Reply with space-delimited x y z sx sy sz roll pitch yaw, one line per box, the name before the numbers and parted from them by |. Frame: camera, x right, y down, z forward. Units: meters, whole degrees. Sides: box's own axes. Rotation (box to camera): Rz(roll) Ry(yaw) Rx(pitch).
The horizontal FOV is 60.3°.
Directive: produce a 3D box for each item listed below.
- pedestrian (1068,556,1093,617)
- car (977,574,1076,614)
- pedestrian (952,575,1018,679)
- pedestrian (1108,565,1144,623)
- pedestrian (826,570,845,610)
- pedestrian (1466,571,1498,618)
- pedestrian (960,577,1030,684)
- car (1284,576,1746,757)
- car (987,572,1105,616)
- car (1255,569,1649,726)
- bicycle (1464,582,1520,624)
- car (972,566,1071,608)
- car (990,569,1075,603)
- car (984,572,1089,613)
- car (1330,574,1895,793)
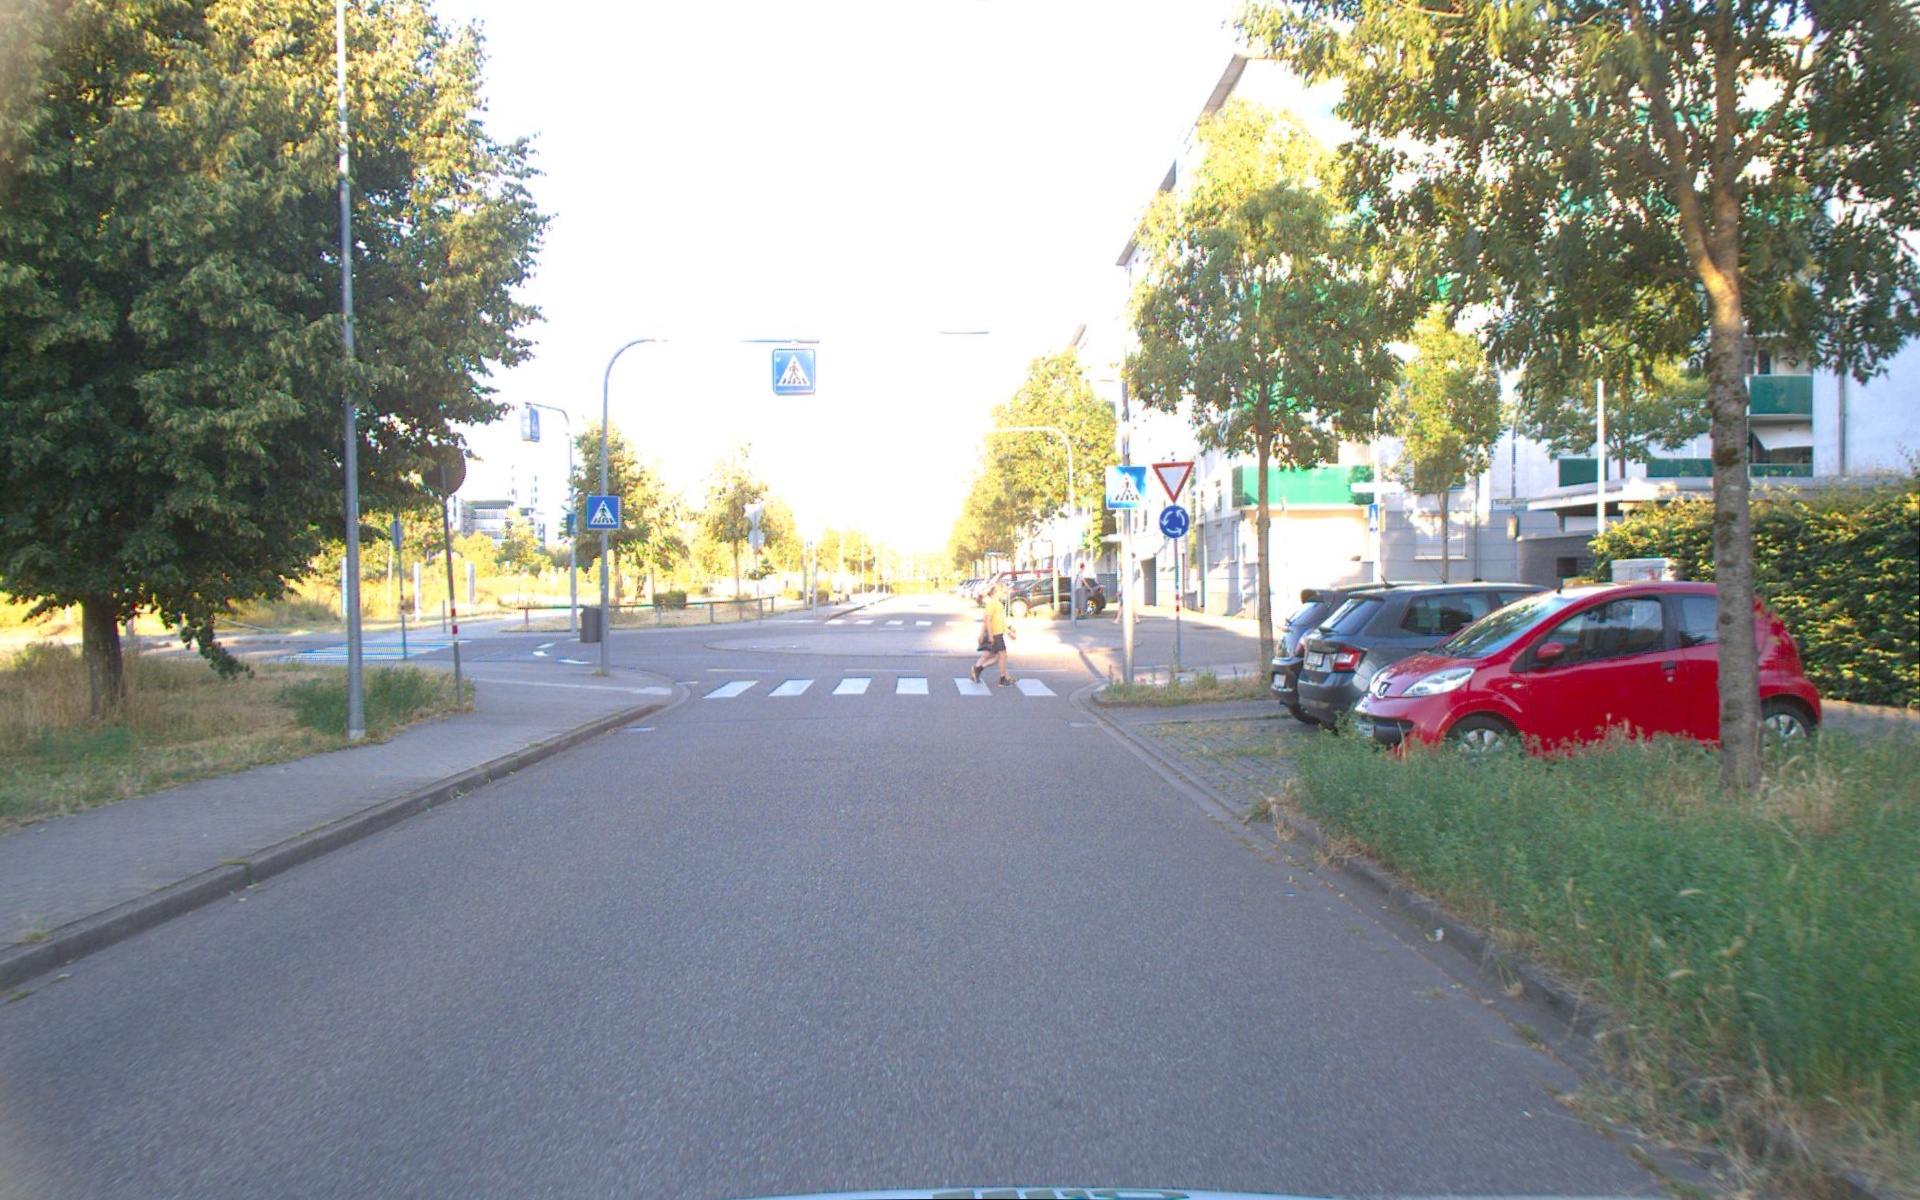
pedestrian | 4.125 -0.462 56.612 0.828 2.049 0.944 -1 0 4
car | 2.830 -0.260 71.091 4.176 1.624 2.000 -1 1 0
pedestrian | 0.423 0.442 27.971 0.966 1.722 0.698 -1 0 -13
pedestrian | 5.309 -0.185 52.846 0.984 1.819 0.761 1 0 -8
pedestrian | -6.366 -0.516 84.684 0.851 2.049 0.787 -1 0 -12
pedestrian | 15.350 -0.159 48.683 0.644 1.379 0.802 -1 0 -4
pedestrian | 0.571 0.489 27.276 1.001 1.722 0.757 -1 0 -12
car | 5.065 0.570 15.403 3.727 1.535 1.678 -1 1 -3
car | 3.243 -0.239 63.214 4.392 1.624 2.000 -1 1 0
car | 5.224 0.481 17.874 3.725 1.535 1.678 -1 0 -2
bicycle | 15.394 0.073 47.932 0.682 1.171 2.459 -1 1 -4
car | 3.181 -0.674 86.382 4.906 2.081 2.248 -1 1 -6
car | 3.628 -0.716 83.337 4.177 1.624 1.999 -1 1 -2
car | 3.125 -0.305 68.363 4.266 1.624 2.000 -1 1 0
car | 4.942 0.589 12.843 3.727 1.535 1.678 -1 1 -3
